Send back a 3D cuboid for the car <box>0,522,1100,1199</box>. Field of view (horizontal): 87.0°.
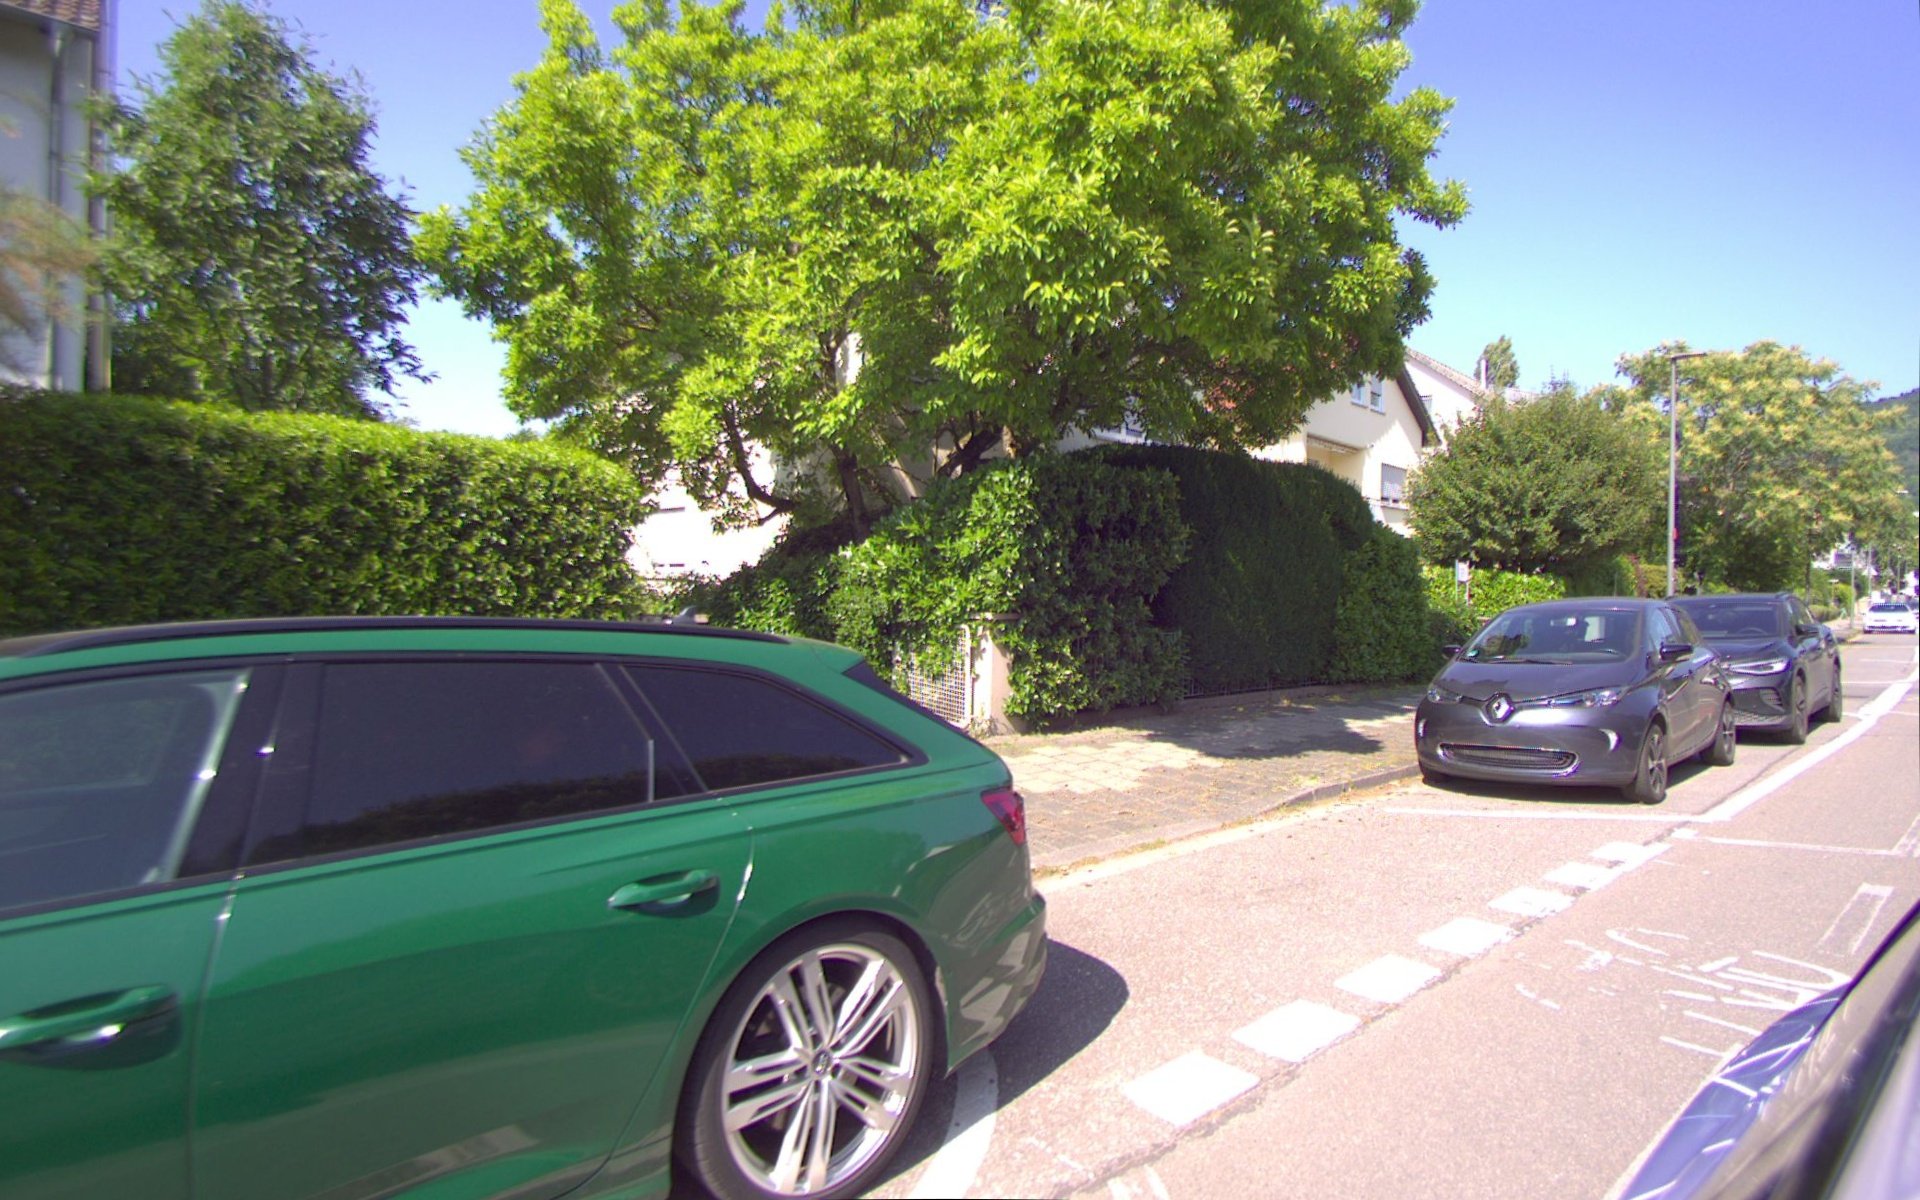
[{"bbox_3d":[-1.981,0.652,2.142,4.702,1.482,1.815,1,-2,-40],"label":"car"}]

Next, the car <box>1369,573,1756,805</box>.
[{"bbox_3d":[5.400,0.665,8.885,3.849,1.579,1.813,1,-4,-42],"label":"car"}]

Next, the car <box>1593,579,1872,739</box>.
[{"bbox_3d":[9.395,0.611,12.169,4.520,1.579,1.814,1,-2,-42],"label":"car"}]

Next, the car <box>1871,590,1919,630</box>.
[{"bbox_3d":[42.624,0.424,45.781,1.992,1.727,3.941,1,1,41],"label":"car"}]
